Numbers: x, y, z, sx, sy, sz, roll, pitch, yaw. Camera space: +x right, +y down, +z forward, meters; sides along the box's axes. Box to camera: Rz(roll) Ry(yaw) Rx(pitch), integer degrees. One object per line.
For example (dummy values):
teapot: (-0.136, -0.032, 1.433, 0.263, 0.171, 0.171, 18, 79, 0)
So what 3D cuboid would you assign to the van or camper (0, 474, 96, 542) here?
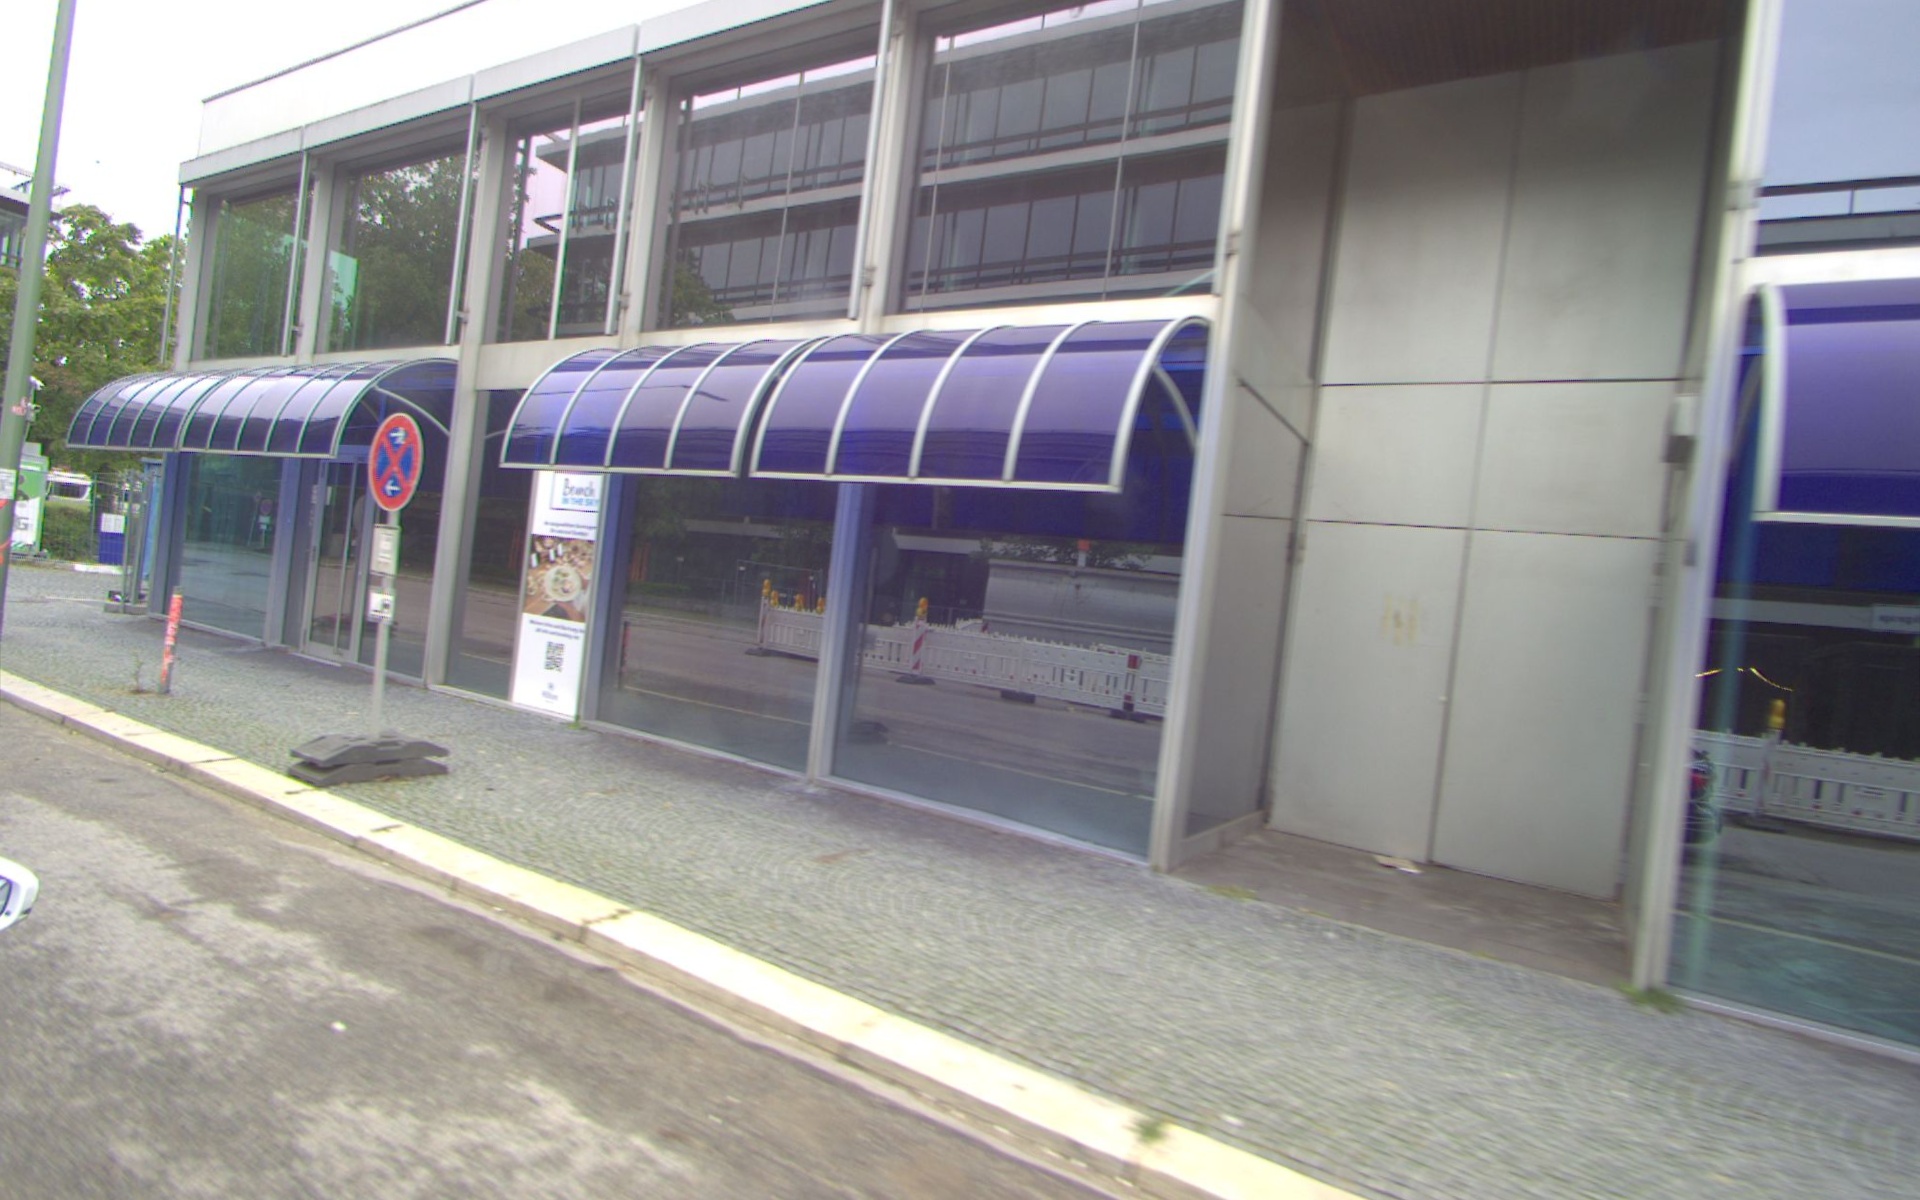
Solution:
van or camper: (-42.541, -4.258, 45.627, 2.069, 2.617, 4.464, 7, 0, 21)
